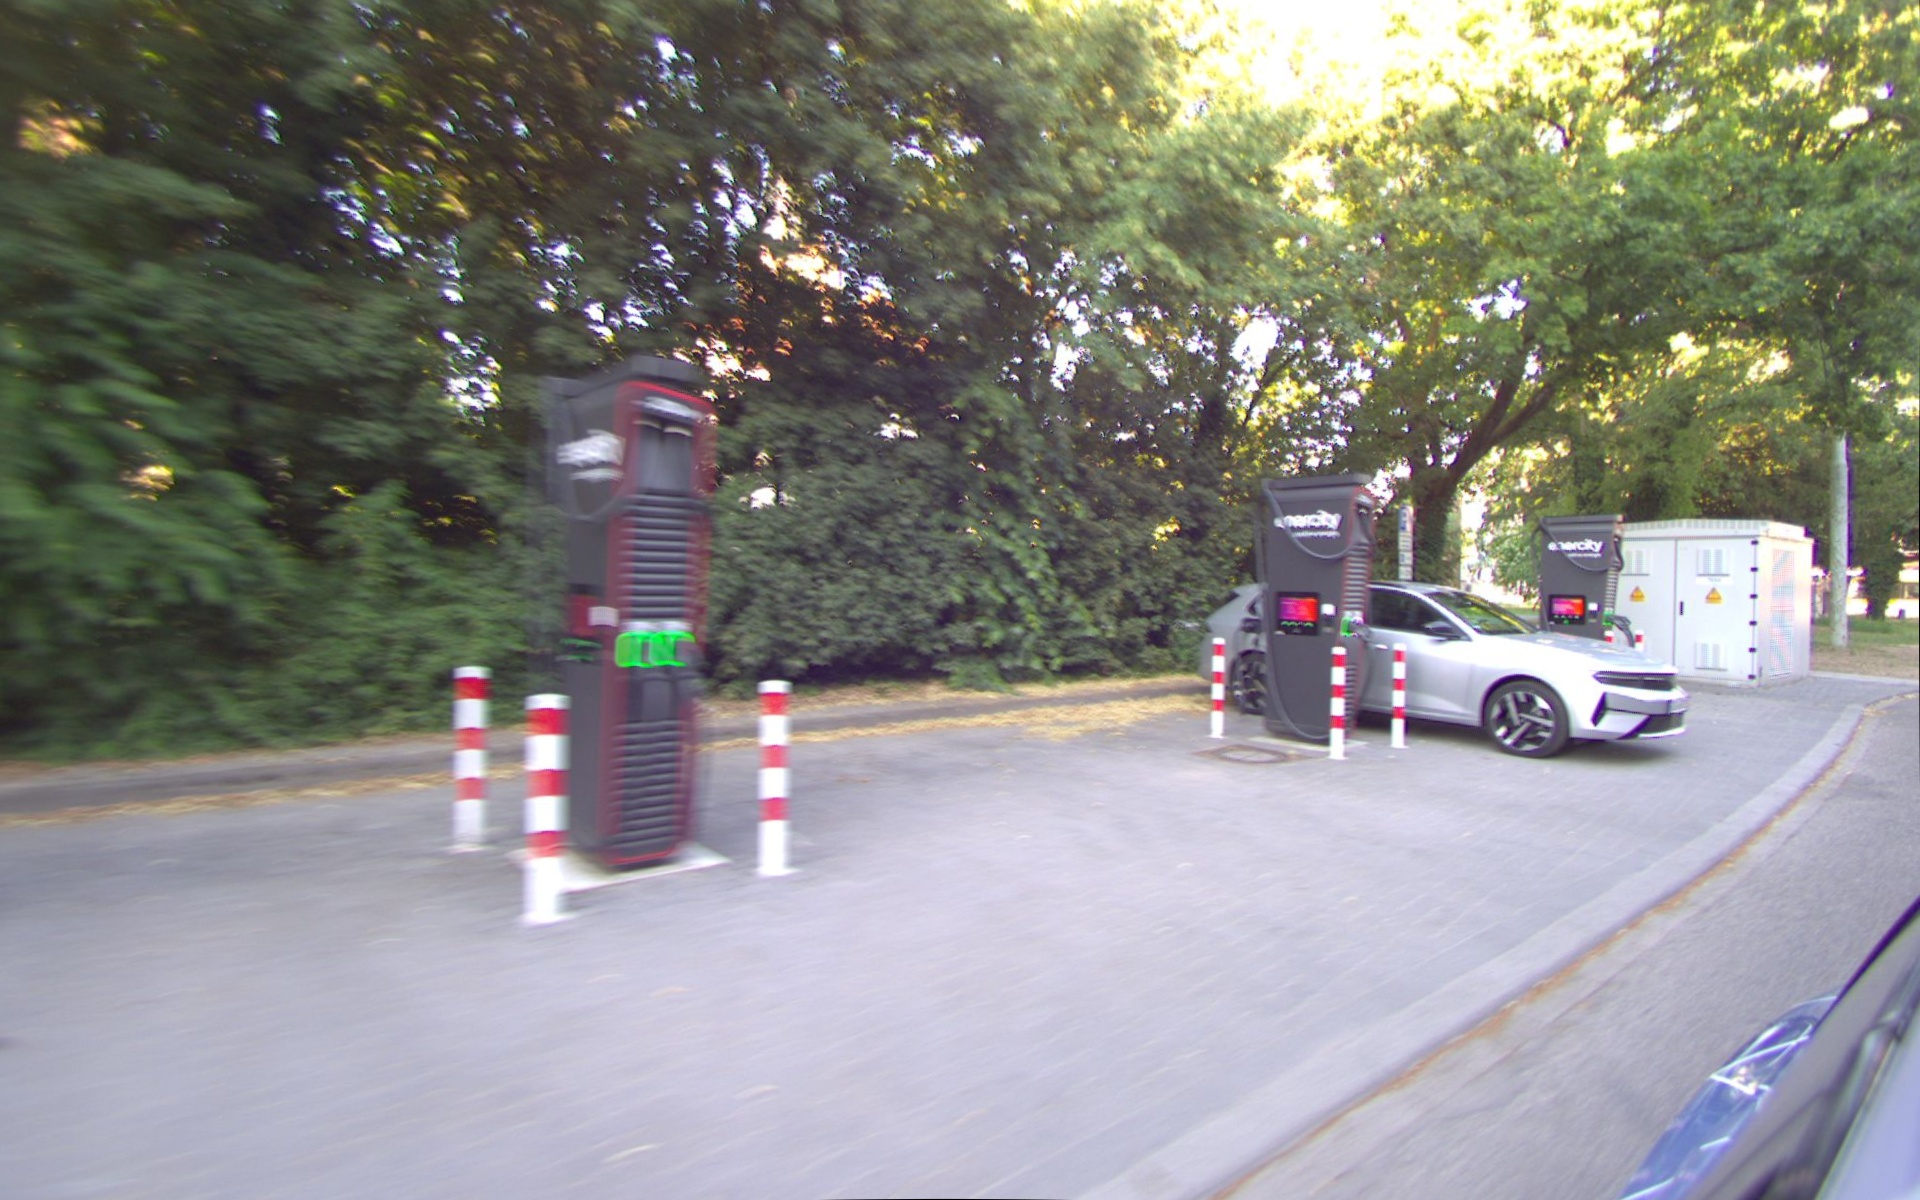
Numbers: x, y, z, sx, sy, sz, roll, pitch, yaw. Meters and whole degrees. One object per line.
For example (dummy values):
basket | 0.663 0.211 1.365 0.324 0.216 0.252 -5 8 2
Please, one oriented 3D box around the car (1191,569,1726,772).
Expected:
car | 4.680 0.491 10.112 1.751 1.487 4.451 0 2 -40

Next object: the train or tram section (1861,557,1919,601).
train or tram section | 81.584 -1.648 80.717 3.061 3.603 17.489 1 1 -3
